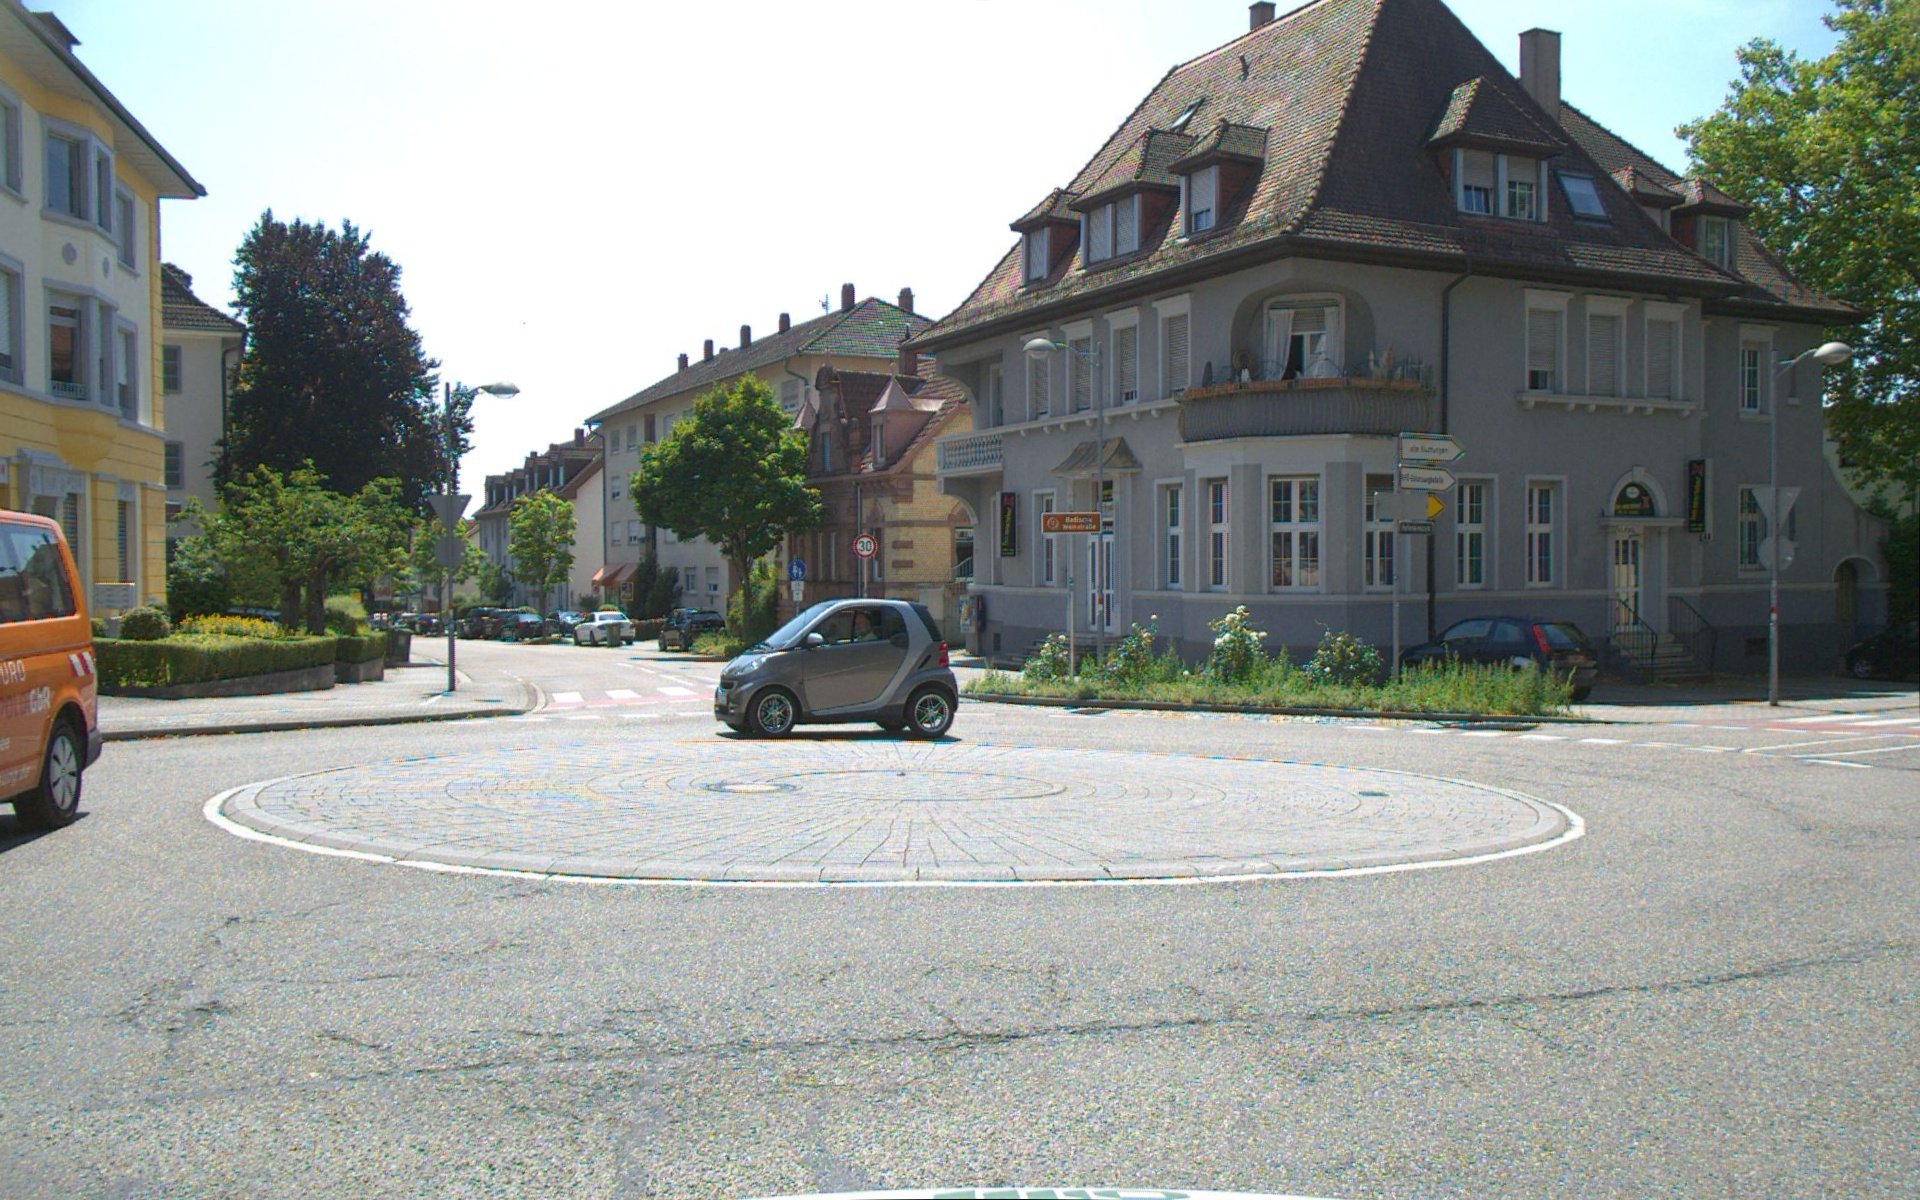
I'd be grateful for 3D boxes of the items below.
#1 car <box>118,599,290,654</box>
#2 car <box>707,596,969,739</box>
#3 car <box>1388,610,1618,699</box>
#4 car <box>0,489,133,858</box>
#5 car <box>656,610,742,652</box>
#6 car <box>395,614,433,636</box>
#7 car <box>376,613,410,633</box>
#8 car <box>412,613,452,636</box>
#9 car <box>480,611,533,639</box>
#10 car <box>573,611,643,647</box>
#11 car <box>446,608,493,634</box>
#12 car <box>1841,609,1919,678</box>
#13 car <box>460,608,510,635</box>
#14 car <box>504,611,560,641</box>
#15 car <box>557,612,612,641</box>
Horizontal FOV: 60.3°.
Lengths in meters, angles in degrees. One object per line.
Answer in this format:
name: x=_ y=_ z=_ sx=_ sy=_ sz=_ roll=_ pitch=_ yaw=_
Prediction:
car: x=-22.236 y=0.769 z=48.680 sx=4.366 sy=1.535 sz=1.976 roll=0 pitch=-1 yaw=-34
car: x=-1.437 y=0.746 z=19.150 sx=2.737 sy=1.557 sz=1.562 roll=0 pitch=-1 yaw=-18
car: x=9.664 y=0.922 z=29.699 sx=1.701 sy=1.486 sz=3.752 roll=0 pitch=-1 yaw=-31
car: x=-6.081 y=0.411 z=8.498 sx=1.909 sy=1.993 sz=5.009 roll=-1 pitch=1 yaw=-10
car: x=-10.024 y=1.174 z=63.315 sx=1.970 sy=1.535 sz=4.379 roll=1 pitch=-1 yaw=-28
car: x=-39.874 y=1.797 z=120.675 sx=1.970 sy=1.535 sz=4.379 roll=1 pitch=-1 yaw=-28
car: x=-44.800 y=1.807 z=130.583 sx=1.970 sy=1.514 sz=3.965 roll=2 pitch=-1 yaw=-27
car: x=-36.872 y=1.702 z=115.407 sx=1.970 sy=1.535 sz=4.379 roll=1 pitch=-1 yaw=-28
car: x=-25.415 y=1.371 z=92.622 sx=1.970 sy=1.535 sz=4.379 roll=1 pitch=-1 yaw=-28
car: x=-15.763 y=1.284 z=73.946 sx=1.970 sy=1.535 sz=4.379 roll=1 pitch=-1 yaw=-28
car: x=-30.098 y=1.261 z=101.492 sx=1.970 sy=1.535 sz=4.379 roll=1 pitch=-1 yaw=-28
car: x=22.593 y=0.996 z=38.453 sx=1.701 sy=1.574 sz=3.356 roll=1 pitch=0 yaw=-31
car: x=-27.954 y=1.241 z=97.281 sx=1.970 sy=1.535 sz=4.379 roll=1 pitch=-1 yaw=-28
car: x=-22.617 y=1.350 z=87.305 sx=1.970 sy=1.535 sz=4.379 roll=1 pitch=-1 yaw=-28
car: x=-20.994 y=1.464 z=92.410 sx=1.970 sy=1.535 sz=4.379 roll=1 pitch=-1 yaw=-28
